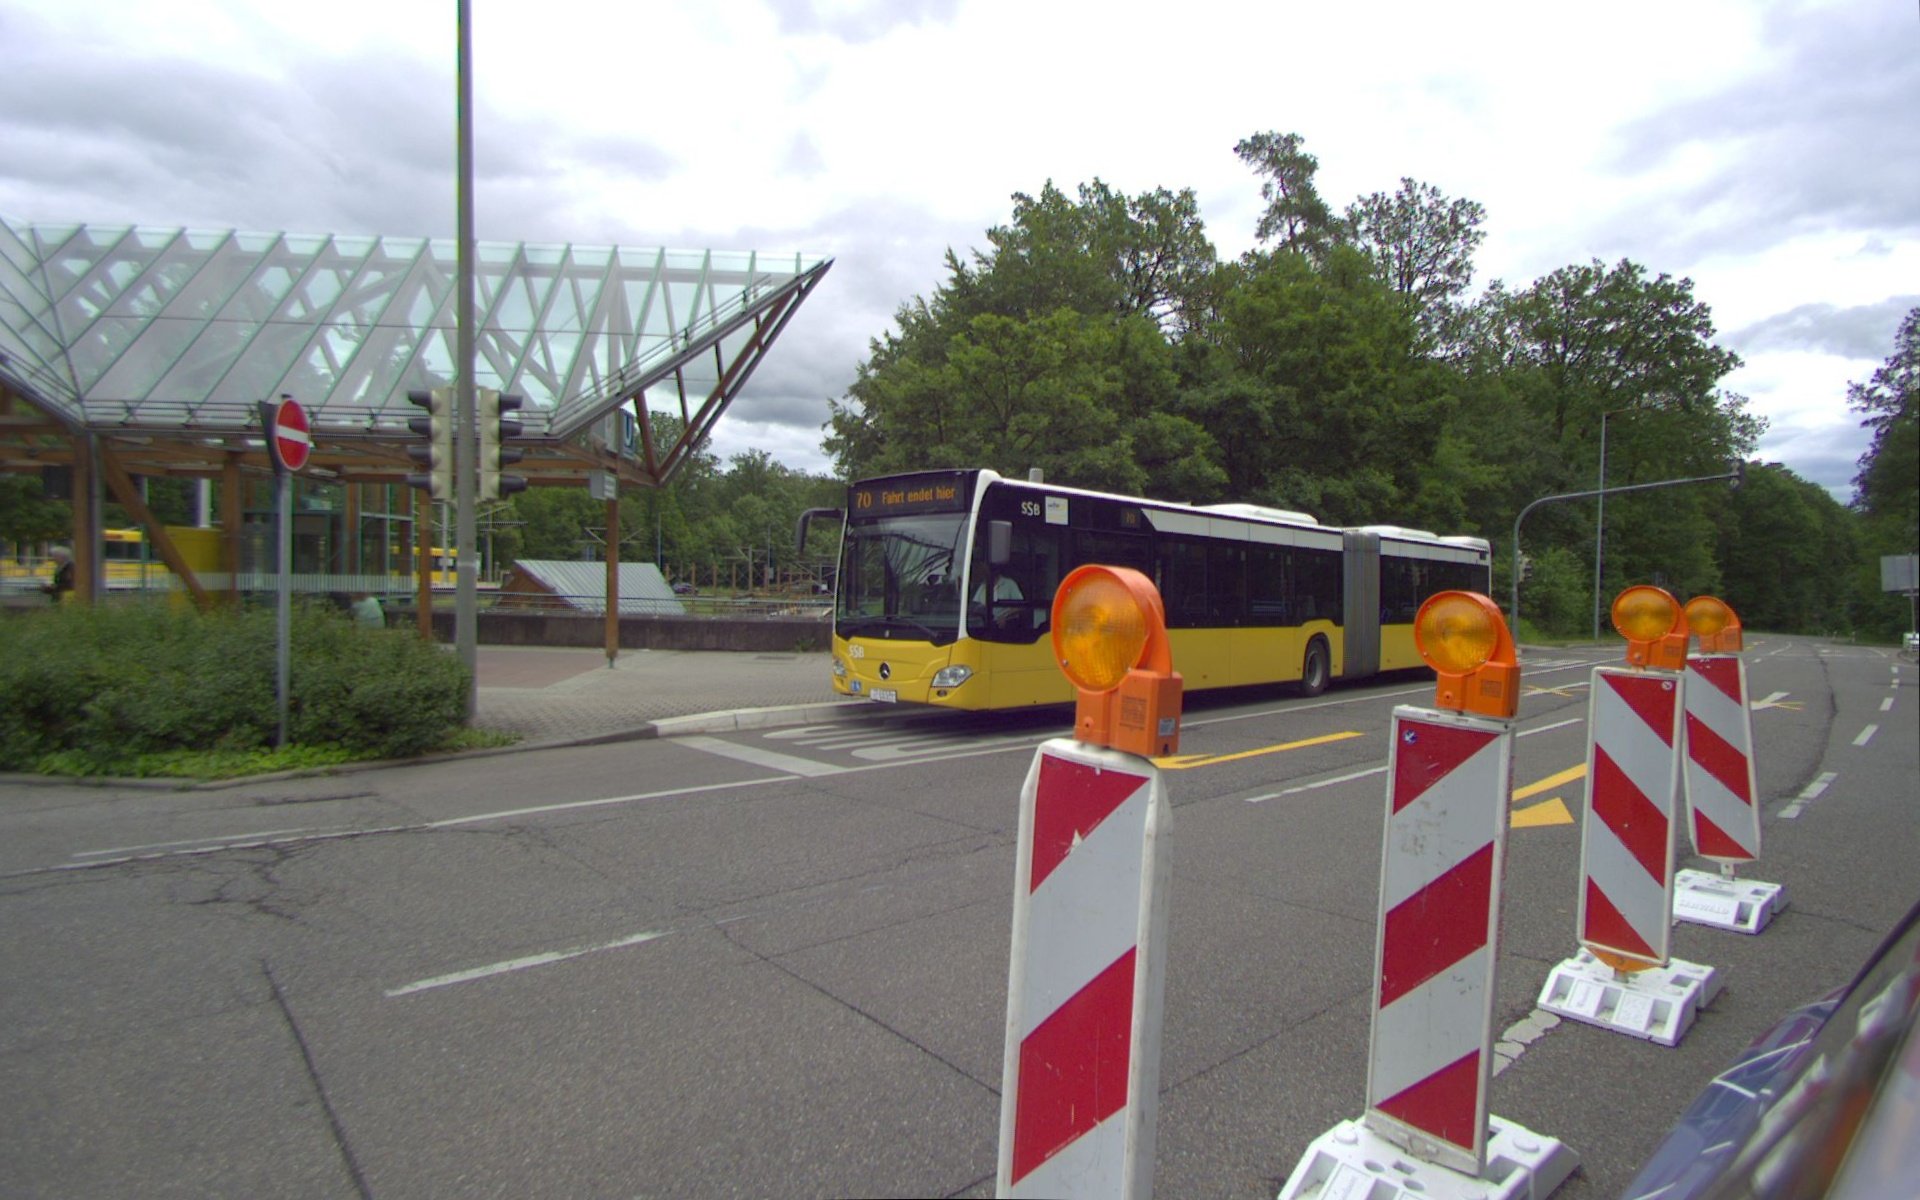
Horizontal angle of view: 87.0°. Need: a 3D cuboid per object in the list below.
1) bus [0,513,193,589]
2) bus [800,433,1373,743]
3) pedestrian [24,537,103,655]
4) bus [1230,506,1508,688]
[{"bbox_3d":[-47.012,-2.323,48.277,3.919,3.527,18.504,0,1,13],"label":"bus"},{"bbox_3d":[2.656,-0.123,15.145,2.804,3.199,10.348,1,0,45],"label":"bus"},{"bbox_3d":[-13.808,-0.066,15.598,0.657,1.780,0.654,0,0,9],"label":"pedestrian"},{"bbox_3d":[8.945,-0.060,21.540,2.804,3.199,7.632,1,0,44],"label":"bus"}]
